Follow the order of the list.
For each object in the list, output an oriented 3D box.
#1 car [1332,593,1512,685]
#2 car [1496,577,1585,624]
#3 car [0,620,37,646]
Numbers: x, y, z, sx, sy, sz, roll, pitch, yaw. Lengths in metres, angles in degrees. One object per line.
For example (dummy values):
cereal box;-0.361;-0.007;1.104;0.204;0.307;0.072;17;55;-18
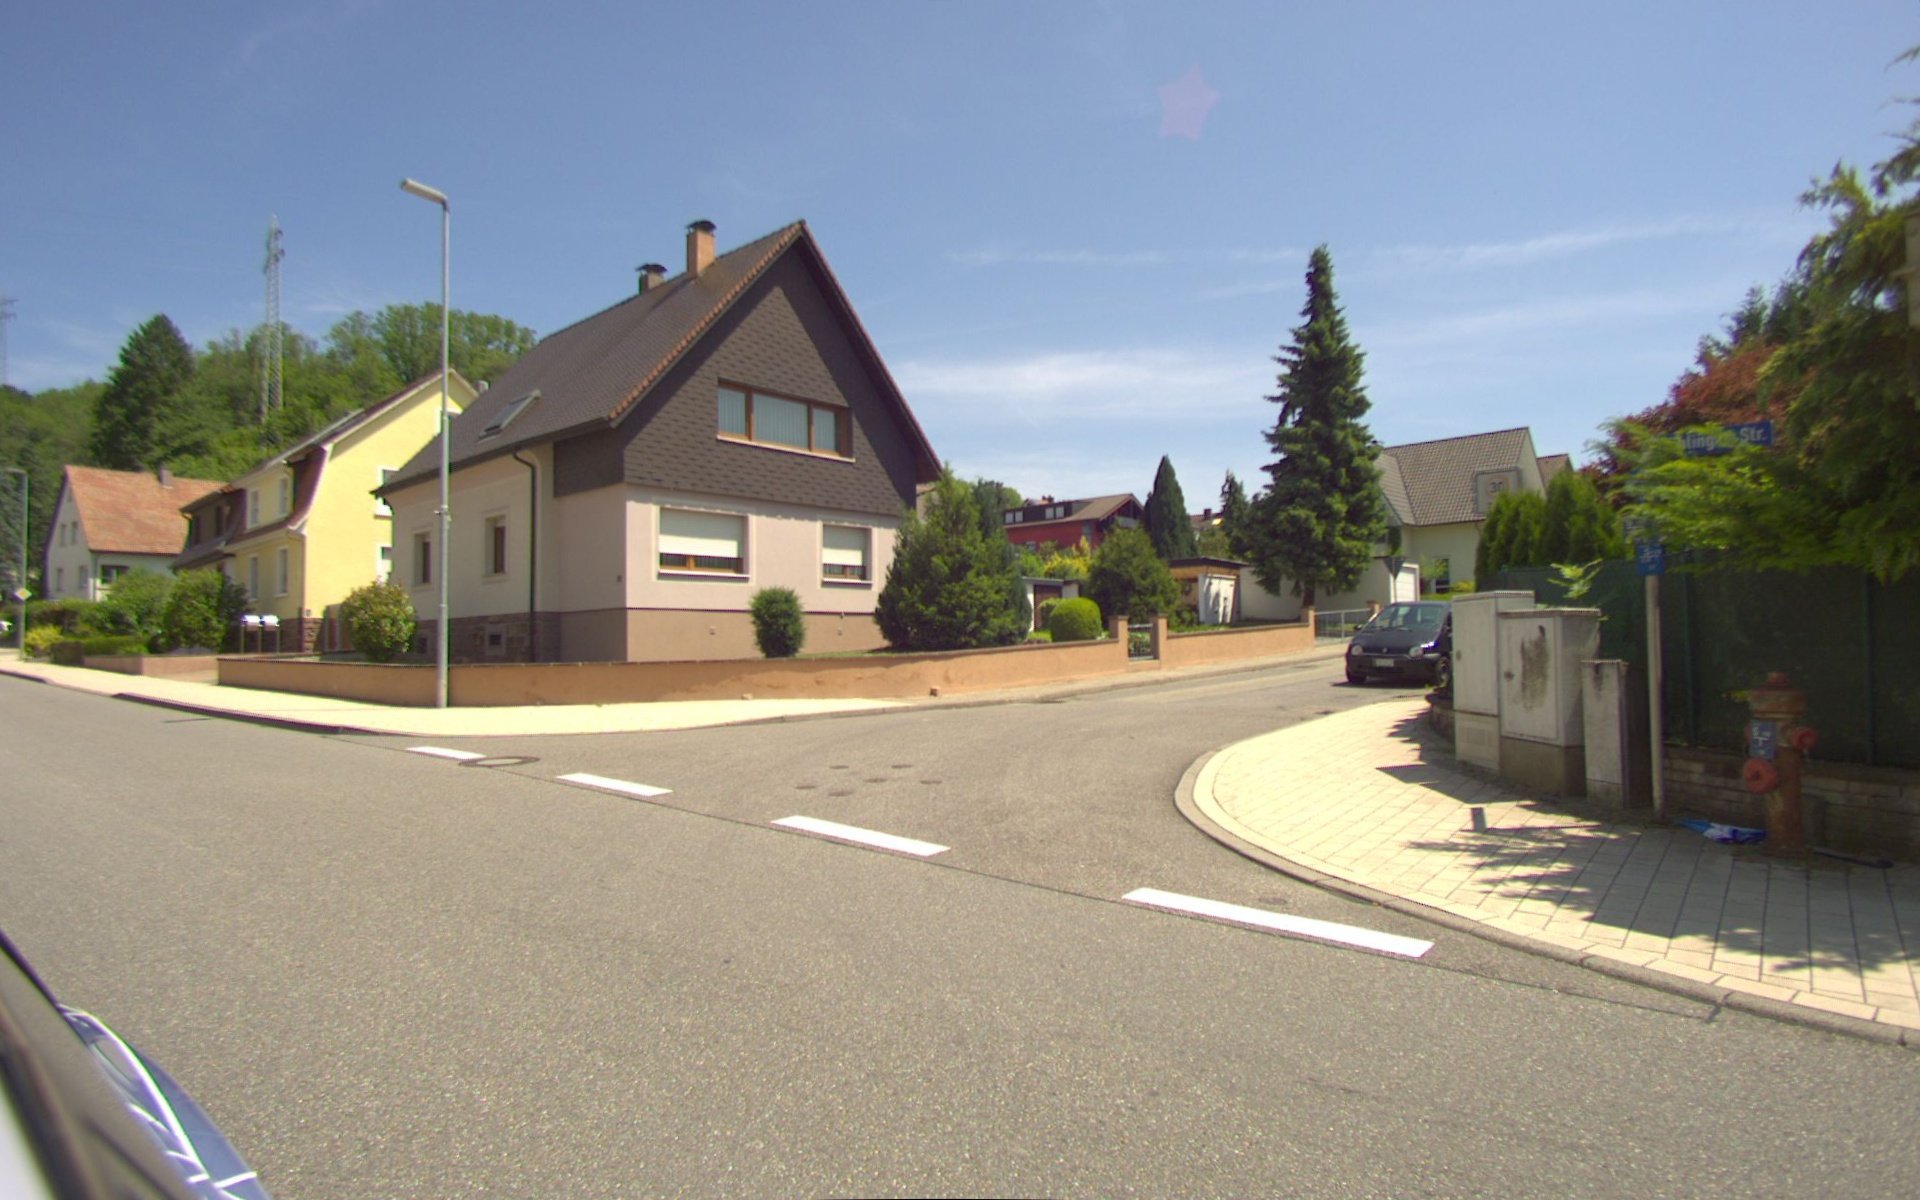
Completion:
car;8.383;0.640;18.229;1.752;1.427;3.700;-2;0;45
car;21.334;0.003;37.169;1.877;1.563;3.851;-2;1;45
car;-67.493;2.342;70.783;1.796;1.803;3.976;-1;-1;18
